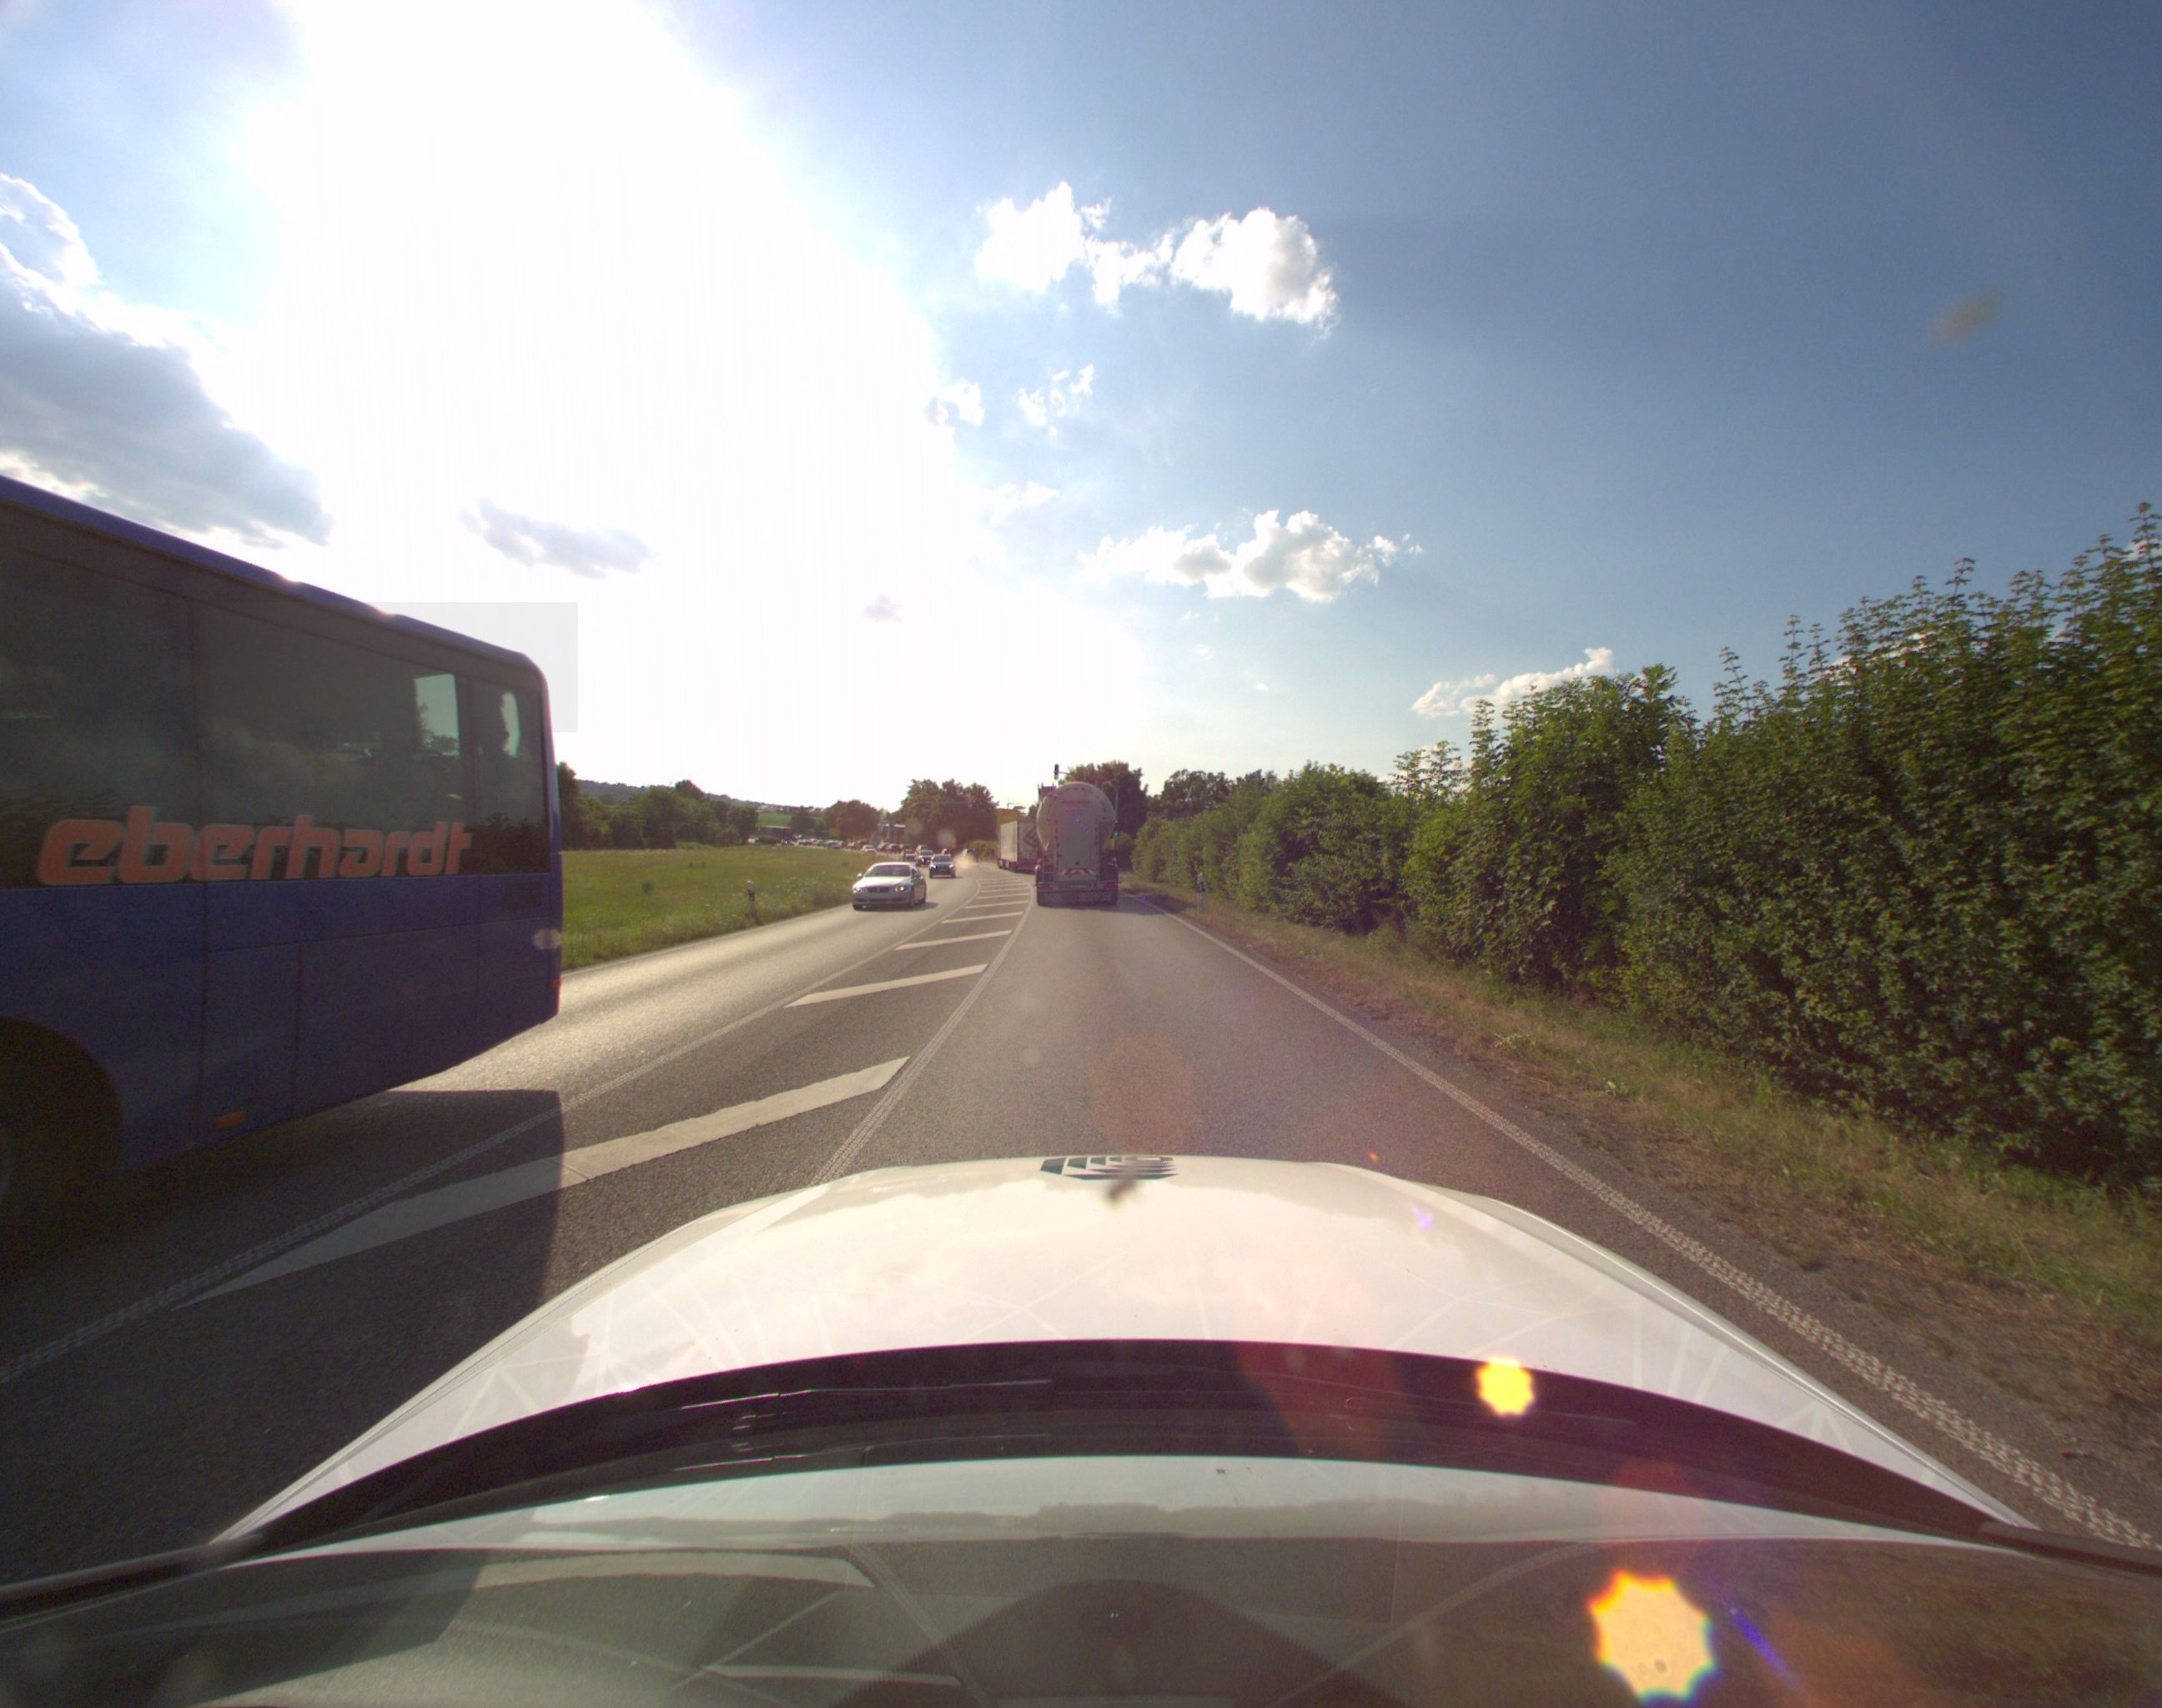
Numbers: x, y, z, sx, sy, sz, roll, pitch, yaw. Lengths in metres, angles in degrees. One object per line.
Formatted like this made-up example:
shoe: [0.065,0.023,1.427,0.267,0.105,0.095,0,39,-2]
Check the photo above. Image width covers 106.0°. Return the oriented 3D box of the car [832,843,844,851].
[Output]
car: [-48.073,-1.381,161.054,1.888,1.599,3.974,1,0,-20]

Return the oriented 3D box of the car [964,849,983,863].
car: [-13.443,0.218,101.660,1.995,1.656,3.984,1,-1,-11]

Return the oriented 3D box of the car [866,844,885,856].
car: [-29.664,-0.546,117.380,1.891,1.599,3.968,1,0,-24]

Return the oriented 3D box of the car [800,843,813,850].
car: [-66.232,-1.908,196.646,1.896,1.599,3.956,1,0,-36]

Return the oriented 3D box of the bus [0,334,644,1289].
bus: [-5.027,-0.191,0.490,2.784,3.182,12.126,0,-1,1]

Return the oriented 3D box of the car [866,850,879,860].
car: [-34.768,0.194,135.997,1.887,1.599,3.976,1,0,-18]

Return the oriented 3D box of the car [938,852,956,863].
car: [-19.391,0.496,117.734,1.691,1.468,3.968,1,-1,-24]

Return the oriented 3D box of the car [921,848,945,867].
car: [-14.719,0.317,81.081,1.991,1.725,4.417,1,1,-6]

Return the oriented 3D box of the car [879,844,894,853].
car: [-37.181,-1.105,155.535,2.093,1.599,3.971,1,0,-22]

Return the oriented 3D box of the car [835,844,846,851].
car: [-53.167,-1.406,179.966,1.891,1.599,3.968,1,0,-25]

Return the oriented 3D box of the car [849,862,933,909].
car: [-5.872,0.916,25.697,1.695,1.334,4.745,0,-1,-2]

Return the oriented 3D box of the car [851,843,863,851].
car: [-45.985,-1.347,167.152,1.889,1.599,3.971,1,0,-22]

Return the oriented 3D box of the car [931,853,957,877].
car: [-9.400,0.763,55.963,1.694,1.553,4.139,1,-1,-9]

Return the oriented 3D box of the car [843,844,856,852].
car: [-49.488,-1.248,173.959,2.095,1.599,3.967,1,0,-25]

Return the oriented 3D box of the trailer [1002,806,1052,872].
trailer: [-4.499,-0.982,65.748,2.964,4.882,10.253,1,-1,-9]

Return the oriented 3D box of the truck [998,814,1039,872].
truck: [-5.631,-0.848,72.521,2.963,4.887,6.408,1,-1,-10]

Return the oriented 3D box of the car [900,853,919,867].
car: [-21.178,0.704,100.481,1.847,1.656,3.973,1,-1,-20]

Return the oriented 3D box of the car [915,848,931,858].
car: [-27.548,-0.137,141.791,1.849,1.656,3.968,1,-1,-24]

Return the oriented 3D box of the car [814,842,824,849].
car: [-61.603,-1.888,191.548,1.889,1.599,3.971,1,0,-21]

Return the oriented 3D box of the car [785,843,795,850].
car: [-67.302,-1.656,188.497,1.891,1.599,3.968,1,0,-25]

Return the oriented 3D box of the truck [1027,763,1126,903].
truck: [-0.417,-0.507,30.334,2.969,4.176,11.648,1,-1,-3]

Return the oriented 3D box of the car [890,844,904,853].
car: [-33.482,-0.965,148.011,1.889,1.599,3.971,1,0,-21]

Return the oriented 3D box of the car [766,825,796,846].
car: [-77.693,-4.674,210.648,3.569,5.059,13.092,1,0,-38]
